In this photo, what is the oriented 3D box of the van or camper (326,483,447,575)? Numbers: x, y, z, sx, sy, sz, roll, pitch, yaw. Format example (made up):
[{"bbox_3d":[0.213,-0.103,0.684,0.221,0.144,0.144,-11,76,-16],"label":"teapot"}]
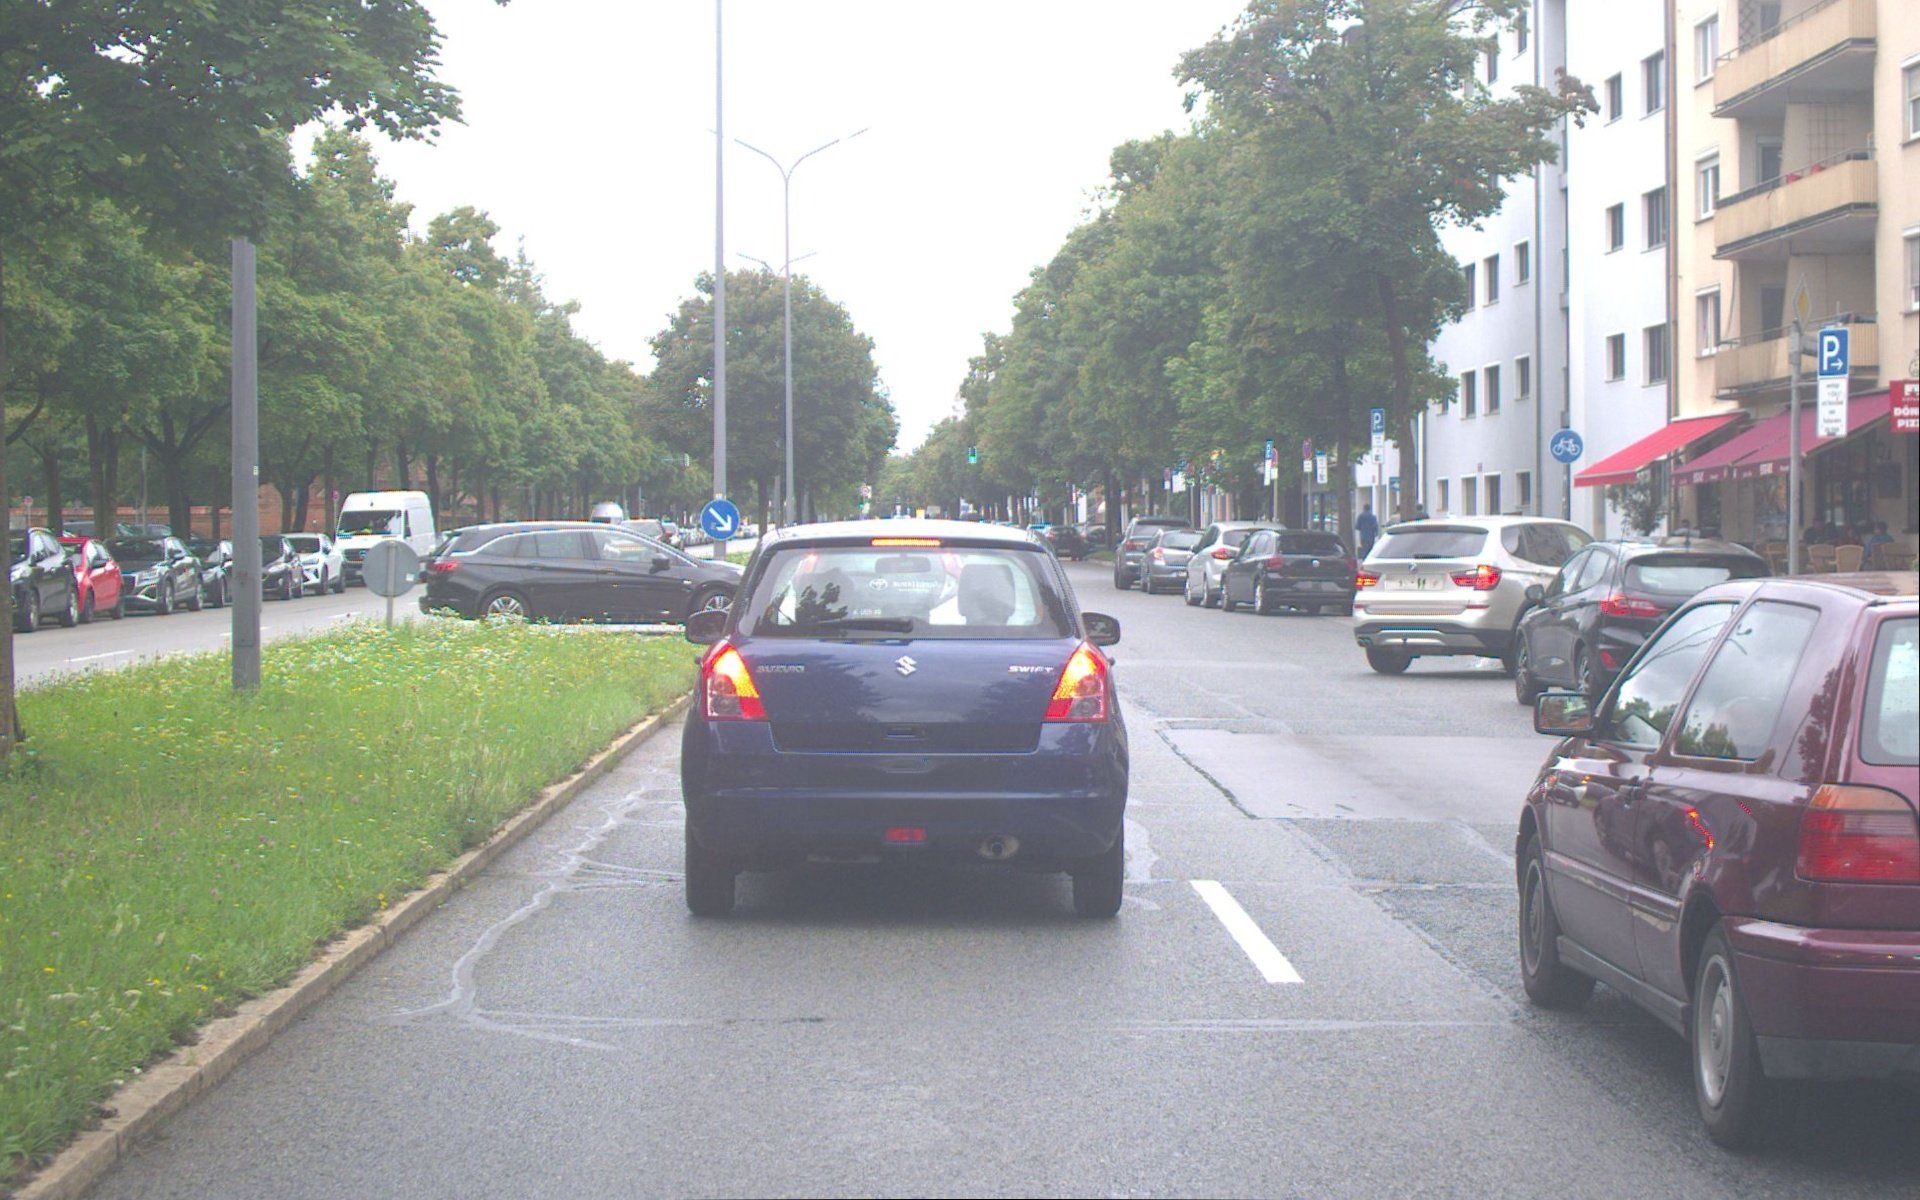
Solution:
[{"bbox_3d":[-16.046,-1.983,96.600,2.117,2.473,7.449,1,1,0],"label":"van or camper"}]

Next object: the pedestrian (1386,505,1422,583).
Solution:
[{"bbox_3d":[11.389,-1.441,88.210,0.794,2.007,1.006,0,1,0],"label":"pedestrian"}]

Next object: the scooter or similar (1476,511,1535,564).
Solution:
[{"bbox_3d":[13.596,-1.572,85.707,1.033,1.303,2.755,0,1,0],"label":"scooter or similar"}]

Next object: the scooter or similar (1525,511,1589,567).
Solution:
[{"bbox_3d":[14.014,-1.444,80.799,1.033,1.303,2.755,0,1,0],"label":"scooter or similar"}]

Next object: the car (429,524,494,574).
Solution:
[{"bbox_3d":[-16.125,-1.663,111.262,1.632,1.577,3.879,1,1,-1],"label":"car"}]

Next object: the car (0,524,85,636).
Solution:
[{"bbox_3d":[-15.321,-0.356,55.062,1.716,1.735,3.879,1,1,-1],"label":"car"}]

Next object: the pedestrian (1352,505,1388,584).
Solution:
[{"bbox_3d":[10.531,-1.436,88.238,0.794,2.007,1.006,0,1,0],"label":"pedestrian"}]

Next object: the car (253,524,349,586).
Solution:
[{"bbox_3d":[-15.783,-1.093,82.431,1.632,1.426,3.879,1,1,-1],"label":"car"}]

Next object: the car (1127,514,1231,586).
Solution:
[{"bbox_3d":[4.864,-1.140,76.831,1.865,1.512,4.225,-1,2,-2],"label":"car"}]

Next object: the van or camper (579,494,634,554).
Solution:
[{"bbox_3d":[-19.847,-4.254,193.314,2.561,3.284,6.938,1,1,-1],"label":"van or camper"}]

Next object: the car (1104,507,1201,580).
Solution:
[{"bbox_3d":[4.539,-1.361,81.553,1.865,1.677,4.225,-1,2,-2],"label":"car"}]

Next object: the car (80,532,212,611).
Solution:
[{"bbox_3d":[-15.447,-0.556,65.376,1.667,1.440,3.879,1,1,-1],"label":"car"}]

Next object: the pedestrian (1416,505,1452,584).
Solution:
[{"bbox_3d":[12.186,-1.435,88.376,0.794,2.007,1.006,0,1,0],"label":"pedestrian"}]

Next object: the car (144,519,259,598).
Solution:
[{"bbox_3d":[-15.573,-0.869,70.720,1.590,1.553,3.879,1,1,-1],"label":"car"}]

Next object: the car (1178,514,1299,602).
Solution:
[{"bbox_3d":[5.154,-0.810,63.977,1.791,1.553,4.225,-1,2,-1],"label":"car"}]

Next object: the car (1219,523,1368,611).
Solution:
[{"bbox_3d":[5.658,-0.598,58.804,1.865,1.412,4.225,-1,2,-4],"label":"car"}]

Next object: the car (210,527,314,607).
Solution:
[{"bbox_3d":[-15.618,-0.766,77.101,1.632,1.735,3.879,1,1,-1],"label":"car"}]

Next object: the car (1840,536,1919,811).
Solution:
[{"bbox_3d":[6.007,0.445,17.823,1.682,1.460,4.138,2,1,-1],"label":"car"}]

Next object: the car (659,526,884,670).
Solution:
[{"bbox_3d":[-2.104,-0.059,37.338,1.681,1.458,3.735,0,2,-15],"label":"car"}]

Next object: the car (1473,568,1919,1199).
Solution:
[{"bbox_3d":[2.583,0.643,9.460,1.682,1.379,3.919,1,1,-1],"label":"car"}]

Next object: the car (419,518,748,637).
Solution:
[{"bbox_3d":[-4.848,-0.309,44.355,4.121,1.463,1.840,0,2,-6],"label":"car"}]

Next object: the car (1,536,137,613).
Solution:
[{"bbox_3d":[-15.676,-0.467,60.600,1.590,1.307,3.381,1,1,-1],"label":"car"}]

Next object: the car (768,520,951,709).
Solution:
[{"bbox_3d":[-0.843,0.080,28.793,1.444,1.478,3.107,0,2,-2],"label":"car"}]

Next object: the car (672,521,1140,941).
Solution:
[{"bbox_3d":[-0.253,0.428,14.336,1.682,1.496,3.919,0,2,-2],"label":"car"}]

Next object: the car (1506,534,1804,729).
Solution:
[{"bbox_3d":[5.640,0.207,28.295,1.617,1.460,3.674,2,1,-1],"label":"car"}]

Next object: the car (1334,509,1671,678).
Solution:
[{"bbox_3d":[5.842,-0.100,36.615,1.869,1.655,4.399,2,2,33],"label":"car"}]
